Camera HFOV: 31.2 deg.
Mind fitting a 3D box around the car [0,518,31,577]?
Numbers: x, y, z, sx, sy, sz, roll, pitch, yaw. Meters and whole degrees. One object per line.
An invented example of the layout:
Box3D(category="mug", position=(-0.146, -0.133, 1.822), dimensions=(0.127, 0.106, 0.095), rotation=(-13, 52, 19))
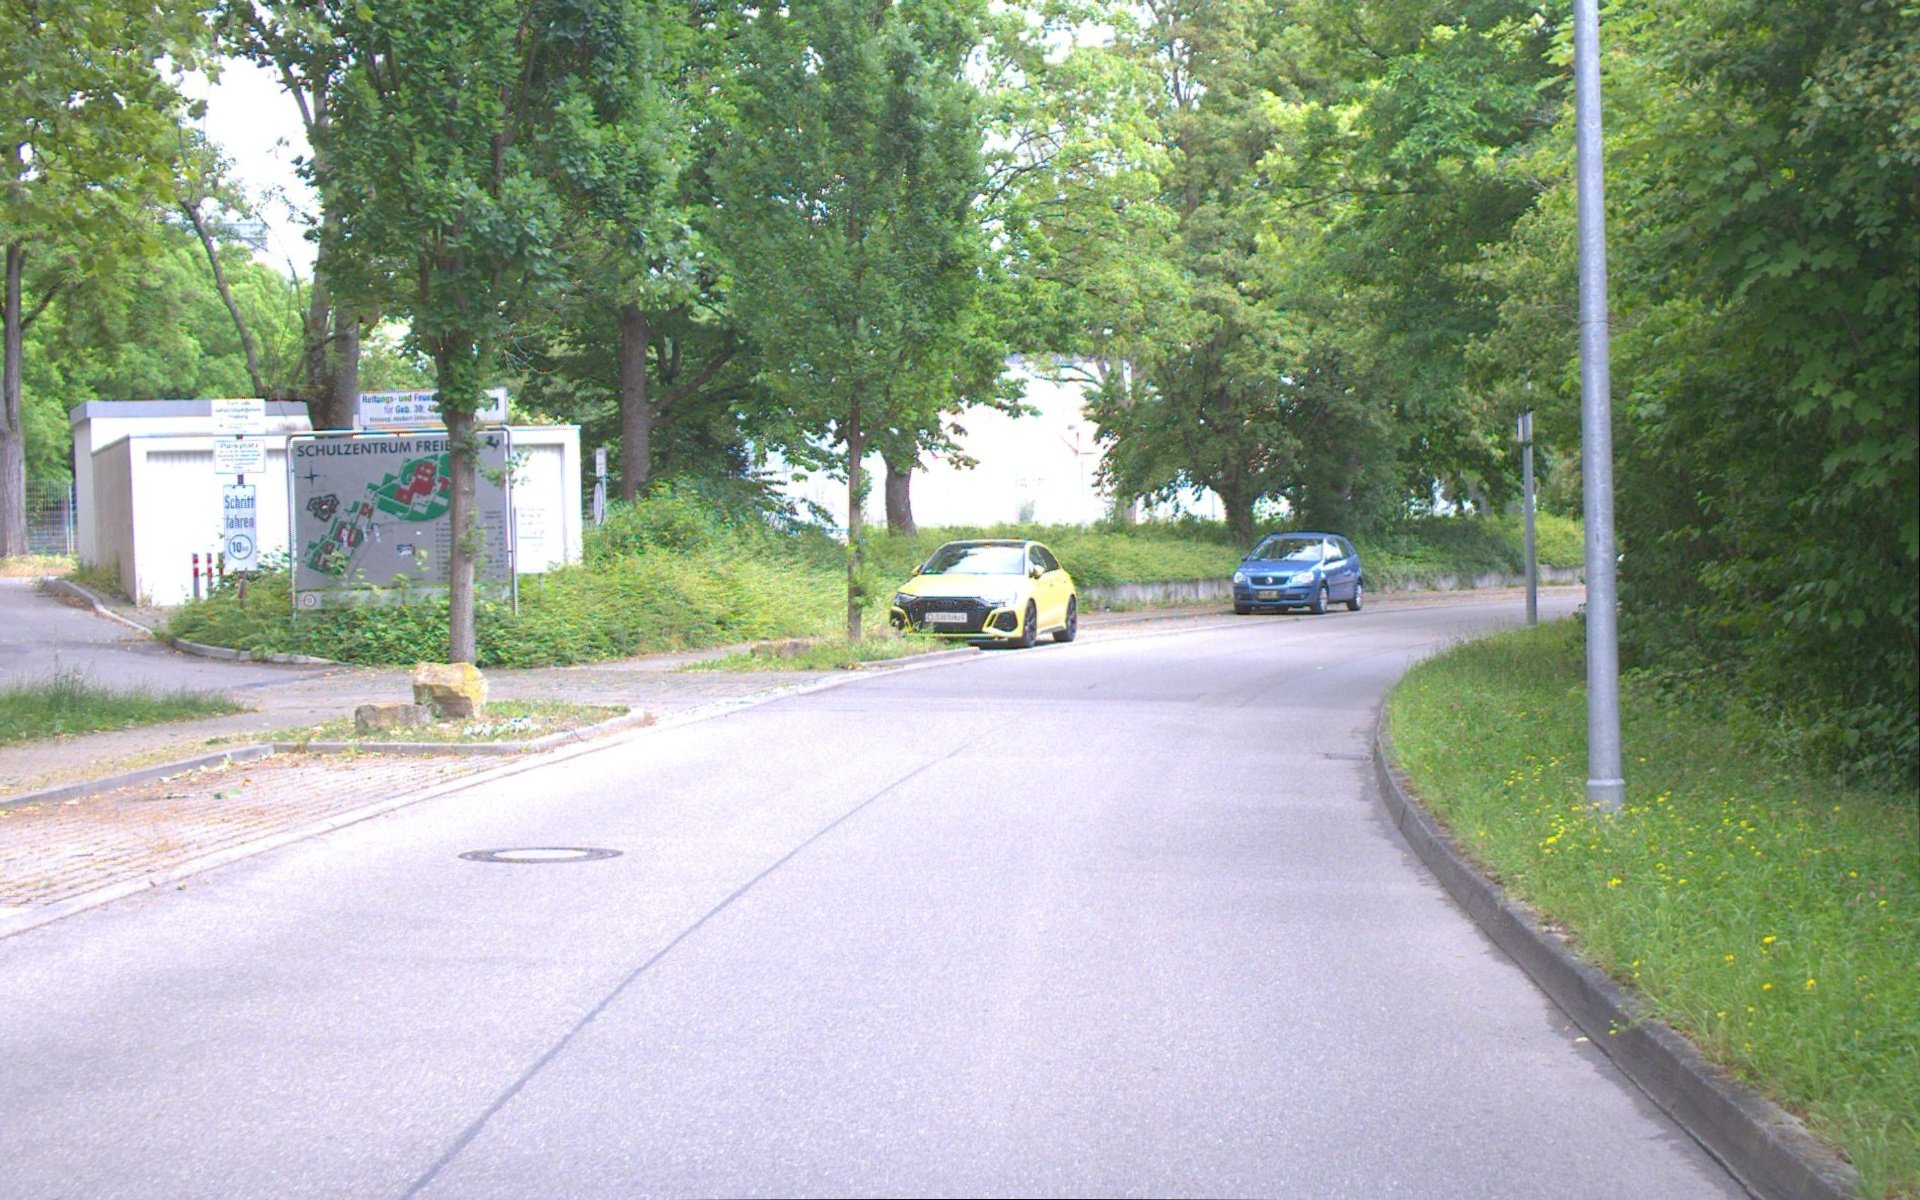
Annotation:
Box3D(category="car", position=(-29.097, -1.570, 103.449), dimensions=(1.871, 1.740, 4.001), rotation=(-2, 1, -11))

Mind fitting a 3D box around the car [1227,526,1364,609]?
Box3D(category="car", position=(6.184, -0.610, 63.115), dimensions=(1.535, 1.454, 3.716), rotation=(0, 1, 21))

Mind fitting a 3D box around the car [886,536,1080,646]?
Box3D(category="car", position=(0.362, -0.148, 46.198), dimensions=(1.701, 1.398, 4.271), rotation=(0, 1, 13))
